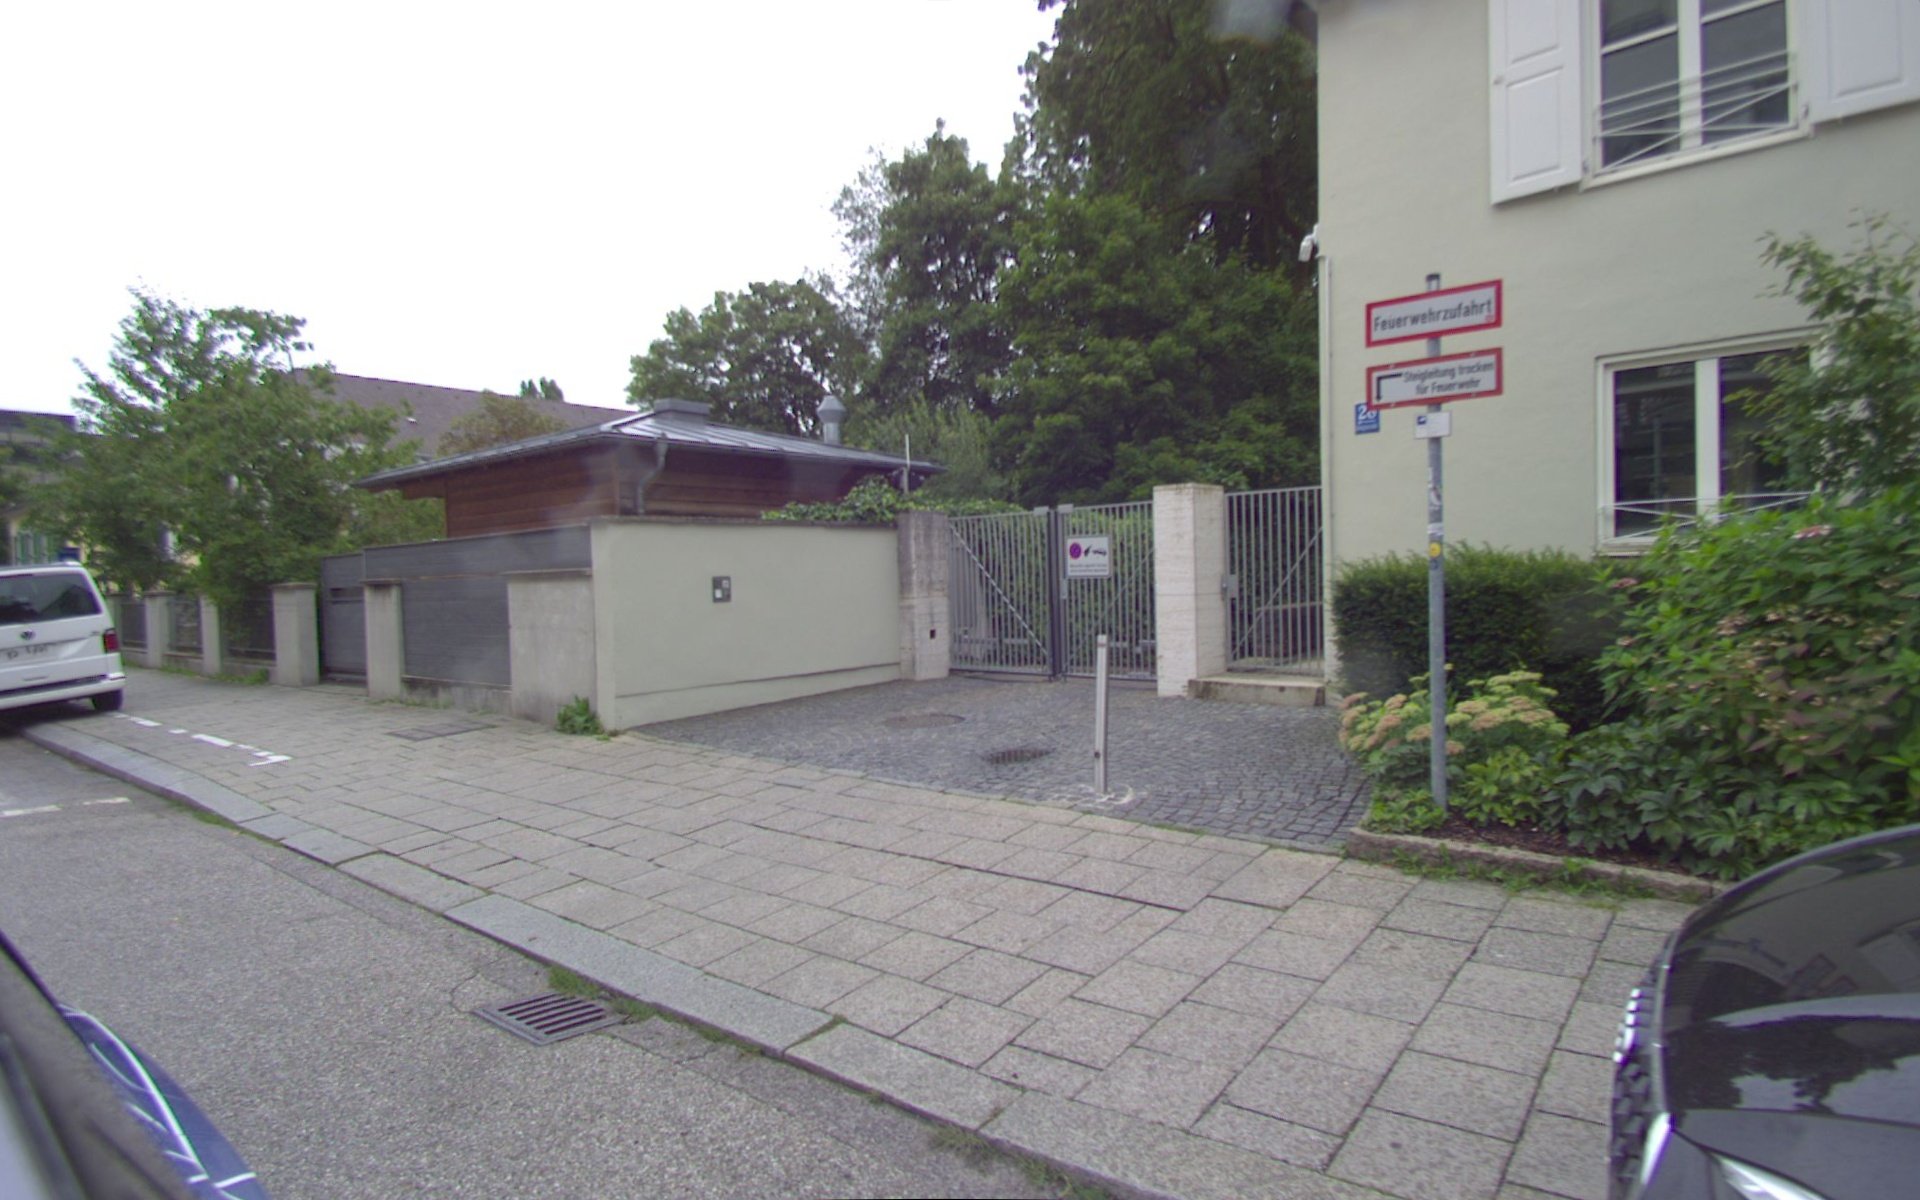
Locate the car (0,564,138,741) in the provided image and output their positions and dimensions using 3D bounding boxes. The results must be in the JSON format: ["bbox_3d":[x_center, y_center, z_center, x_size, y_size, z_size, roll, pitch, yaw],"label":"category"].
[{"bbox_3d":[-12.971,0.641,13.446,5.143,2.005,1.948,-1,3,38],"label":"car"}]

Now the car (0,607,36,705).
[{"bbox_3d":[-17.593,0.959,17.215,4.687,1.555,1.870,-1,1,37],"label":"car"}]

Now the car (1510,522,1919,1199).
[{"bbox_3d":[3.066,0.569,0.262,4.916,1.412,1.791,-1,3,38],"label":"car"}]
